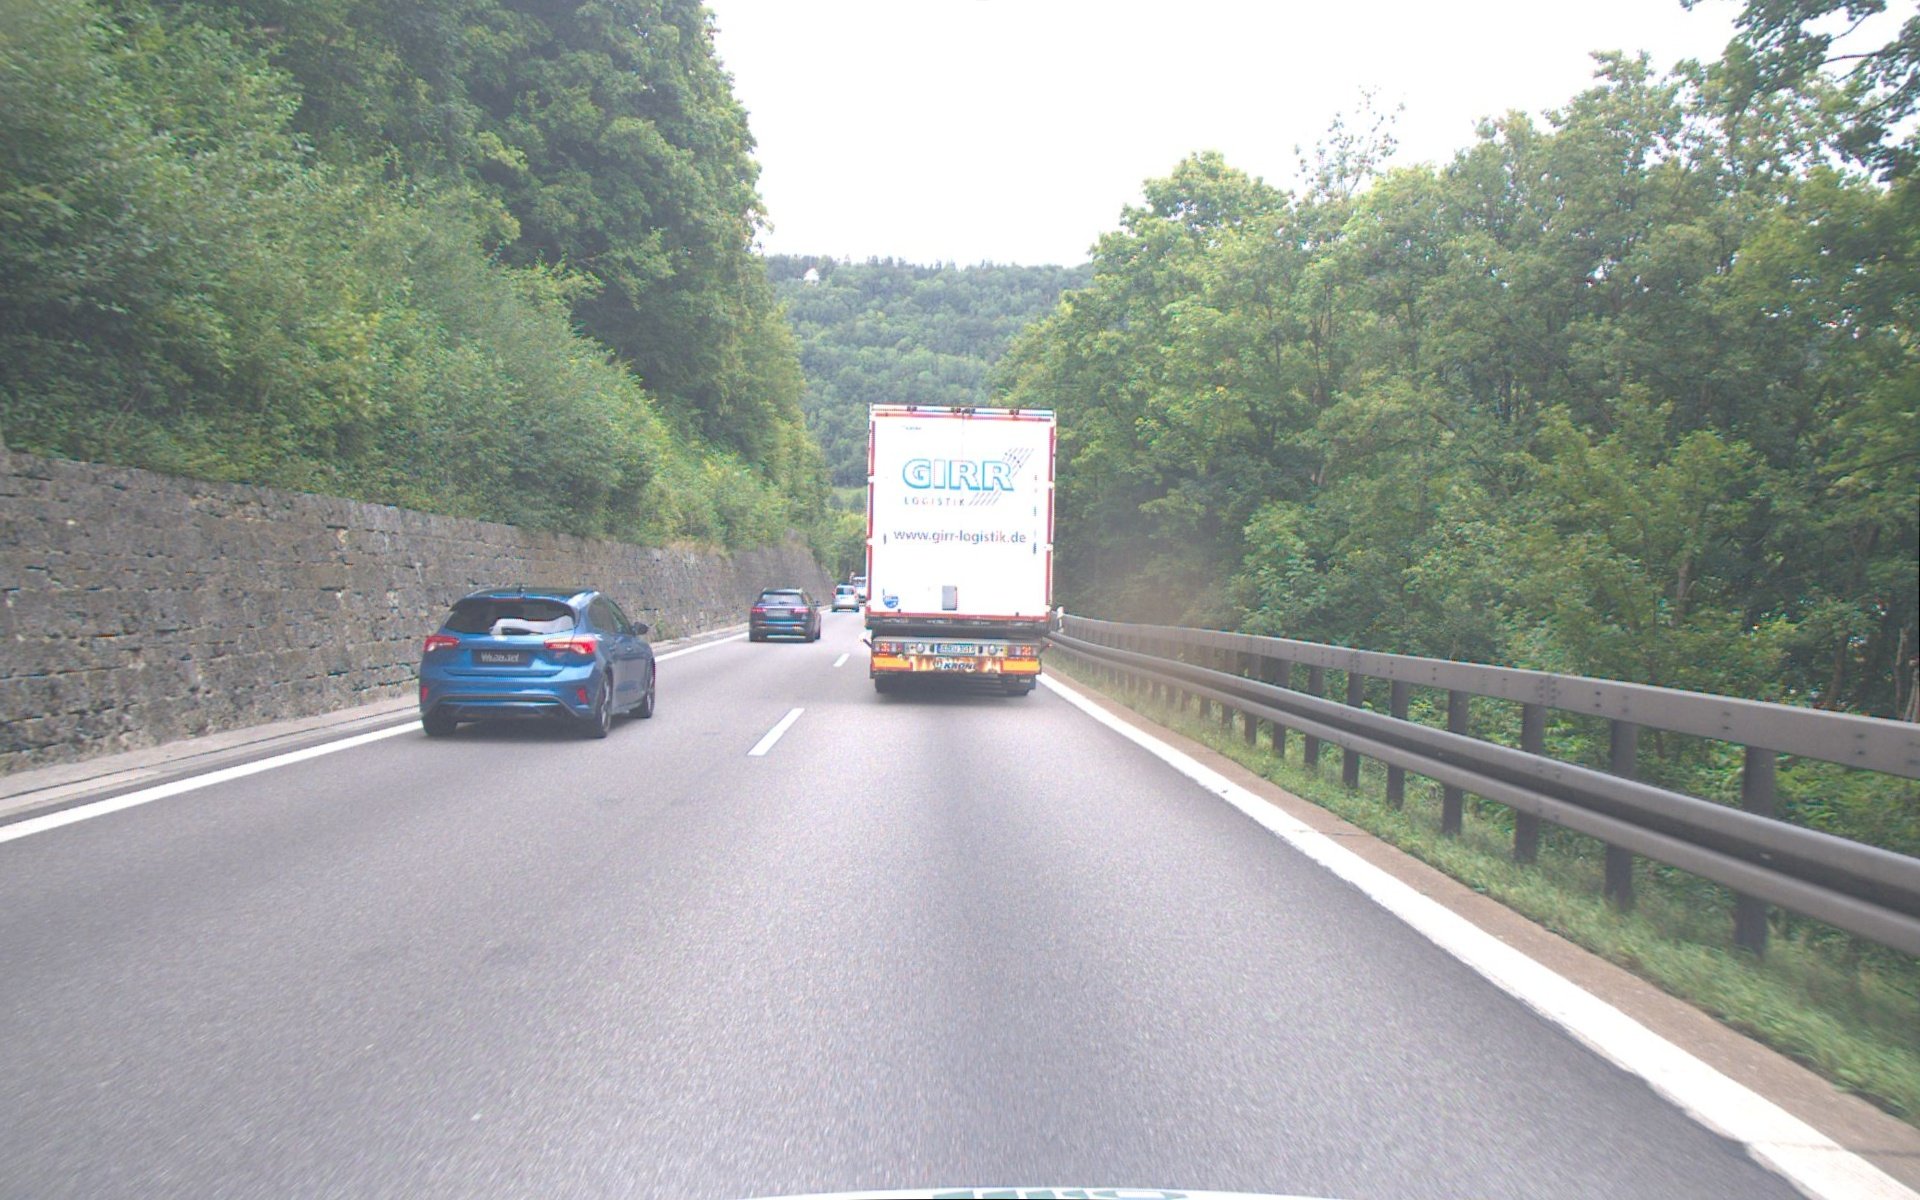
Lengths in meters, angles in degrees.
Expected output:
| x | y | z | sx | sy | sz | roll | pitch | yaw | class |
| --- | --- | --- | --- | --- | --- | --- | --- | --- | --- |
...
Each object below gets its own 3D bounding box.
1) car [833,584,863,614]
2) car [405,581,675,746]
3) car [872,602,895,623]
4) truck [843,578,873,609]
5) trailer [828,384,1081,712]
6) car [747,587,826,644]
| x | y | z | sx | sy | sz | roll | pitch | yaw | class |
| --- | --- | --- | --- | --- | --- | --- | --- | --- | --- |
| -6.958 | -0.047 | 103.032 | 1.601 | 1.757 | 4.343 | 2 | 0 | -2 | car |
| -4.284 | 0.589 | 17.610 | 1.799 | 1.494 | 4.553 | 1 | 0 | -2 | car |
| -7.760 | 1.230 | 168.428 | 1.977 | 1.947 | 5.563 | 3 | 0 | 0 | car |
| -8.432 | -0.548 | 137.584 | 2.302 | 2.313 | 6.846 | 3 | 0 | -3 | truck |
| -0.281 | -0.747 | 26.617 | 3.071 | 4.112 | 9.435 | 4 | 1 | -3 | trailer |
| -4.900 | 0.397 | 47.307 | 1.725 | 1.489 | 5.122 | 1 | 1 | 0 | car |
